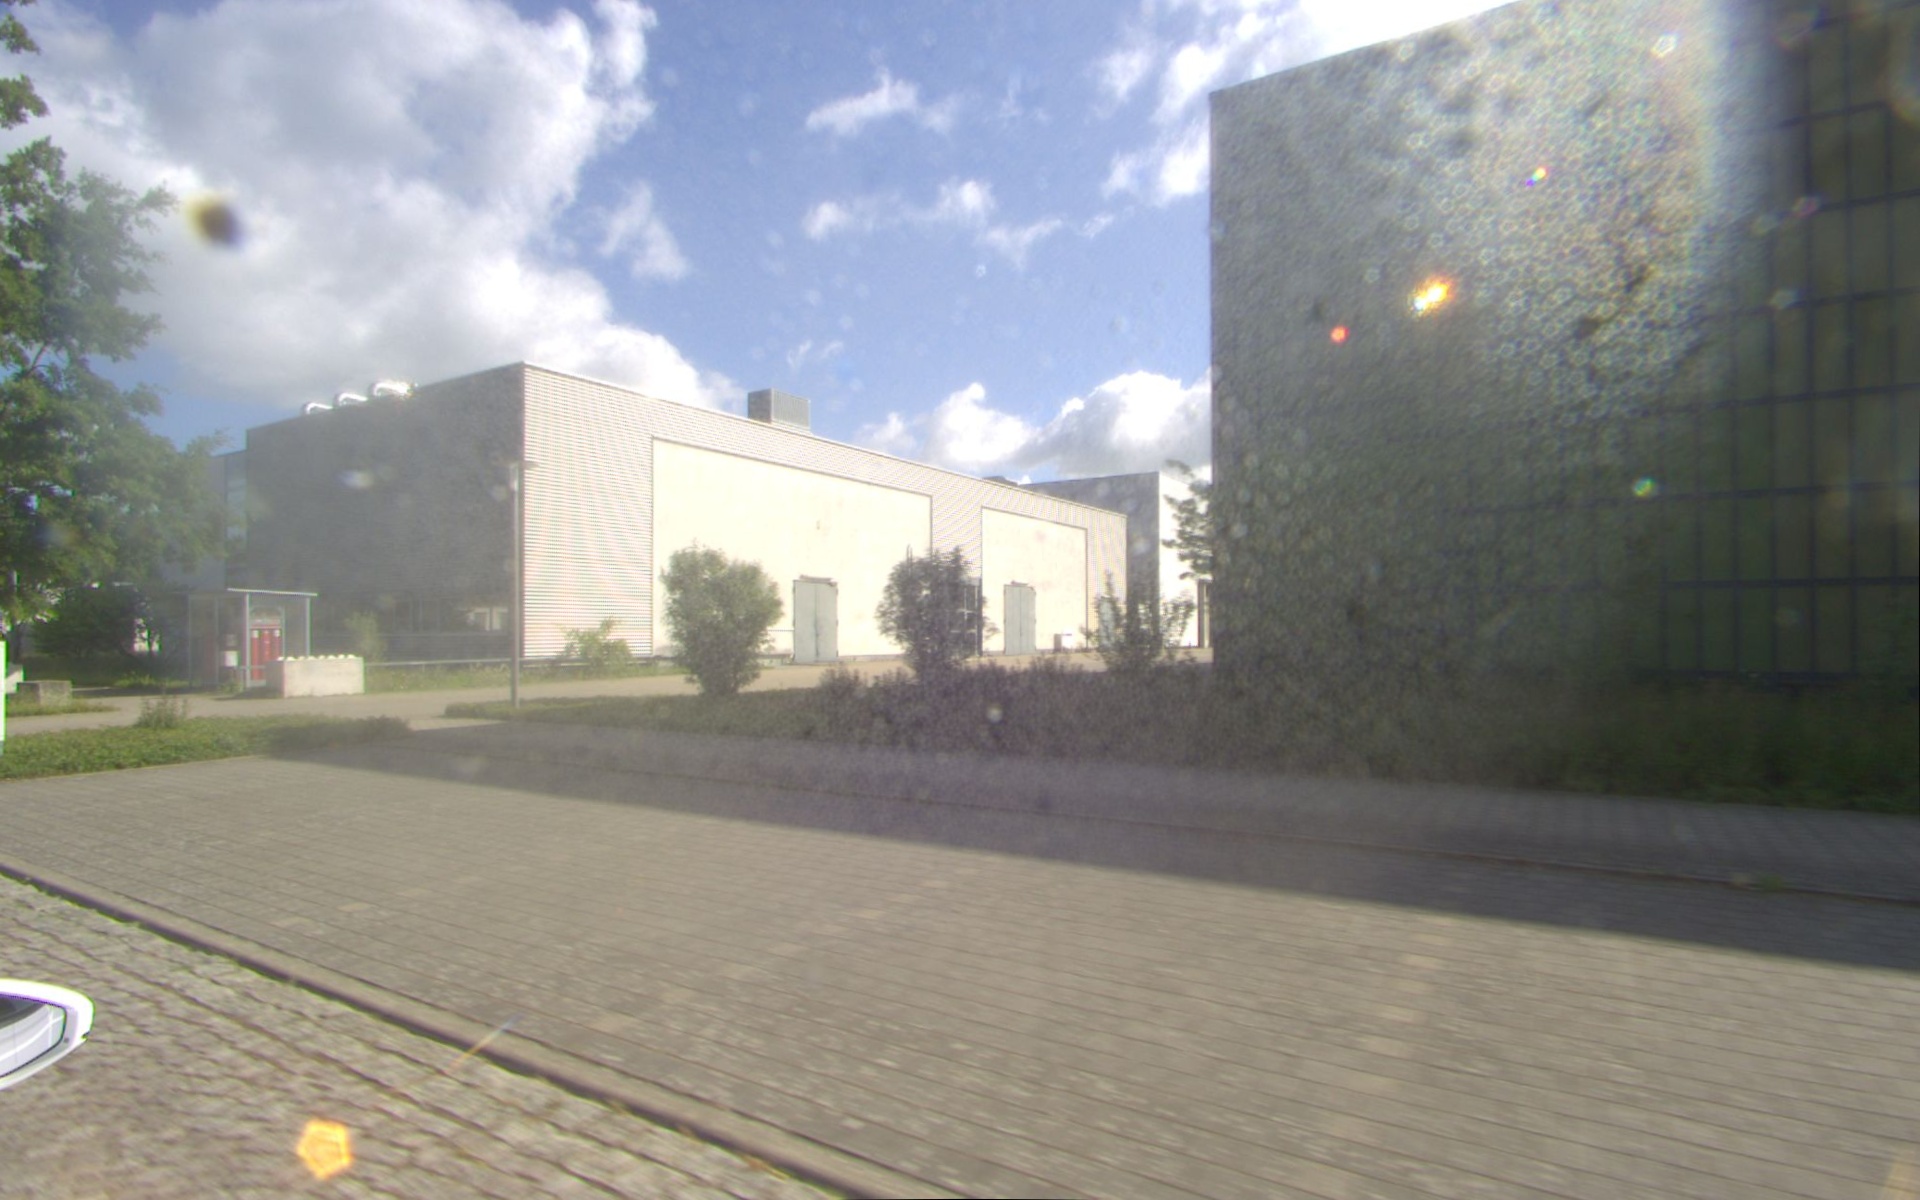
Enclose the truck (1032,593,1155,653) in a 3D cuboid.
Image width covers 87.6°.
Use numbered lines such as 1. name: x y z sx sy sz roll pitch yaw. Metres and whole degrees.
1. truck: 8.980 1.624 68.022 7.991 3.866 2.636 -1 -2 33
